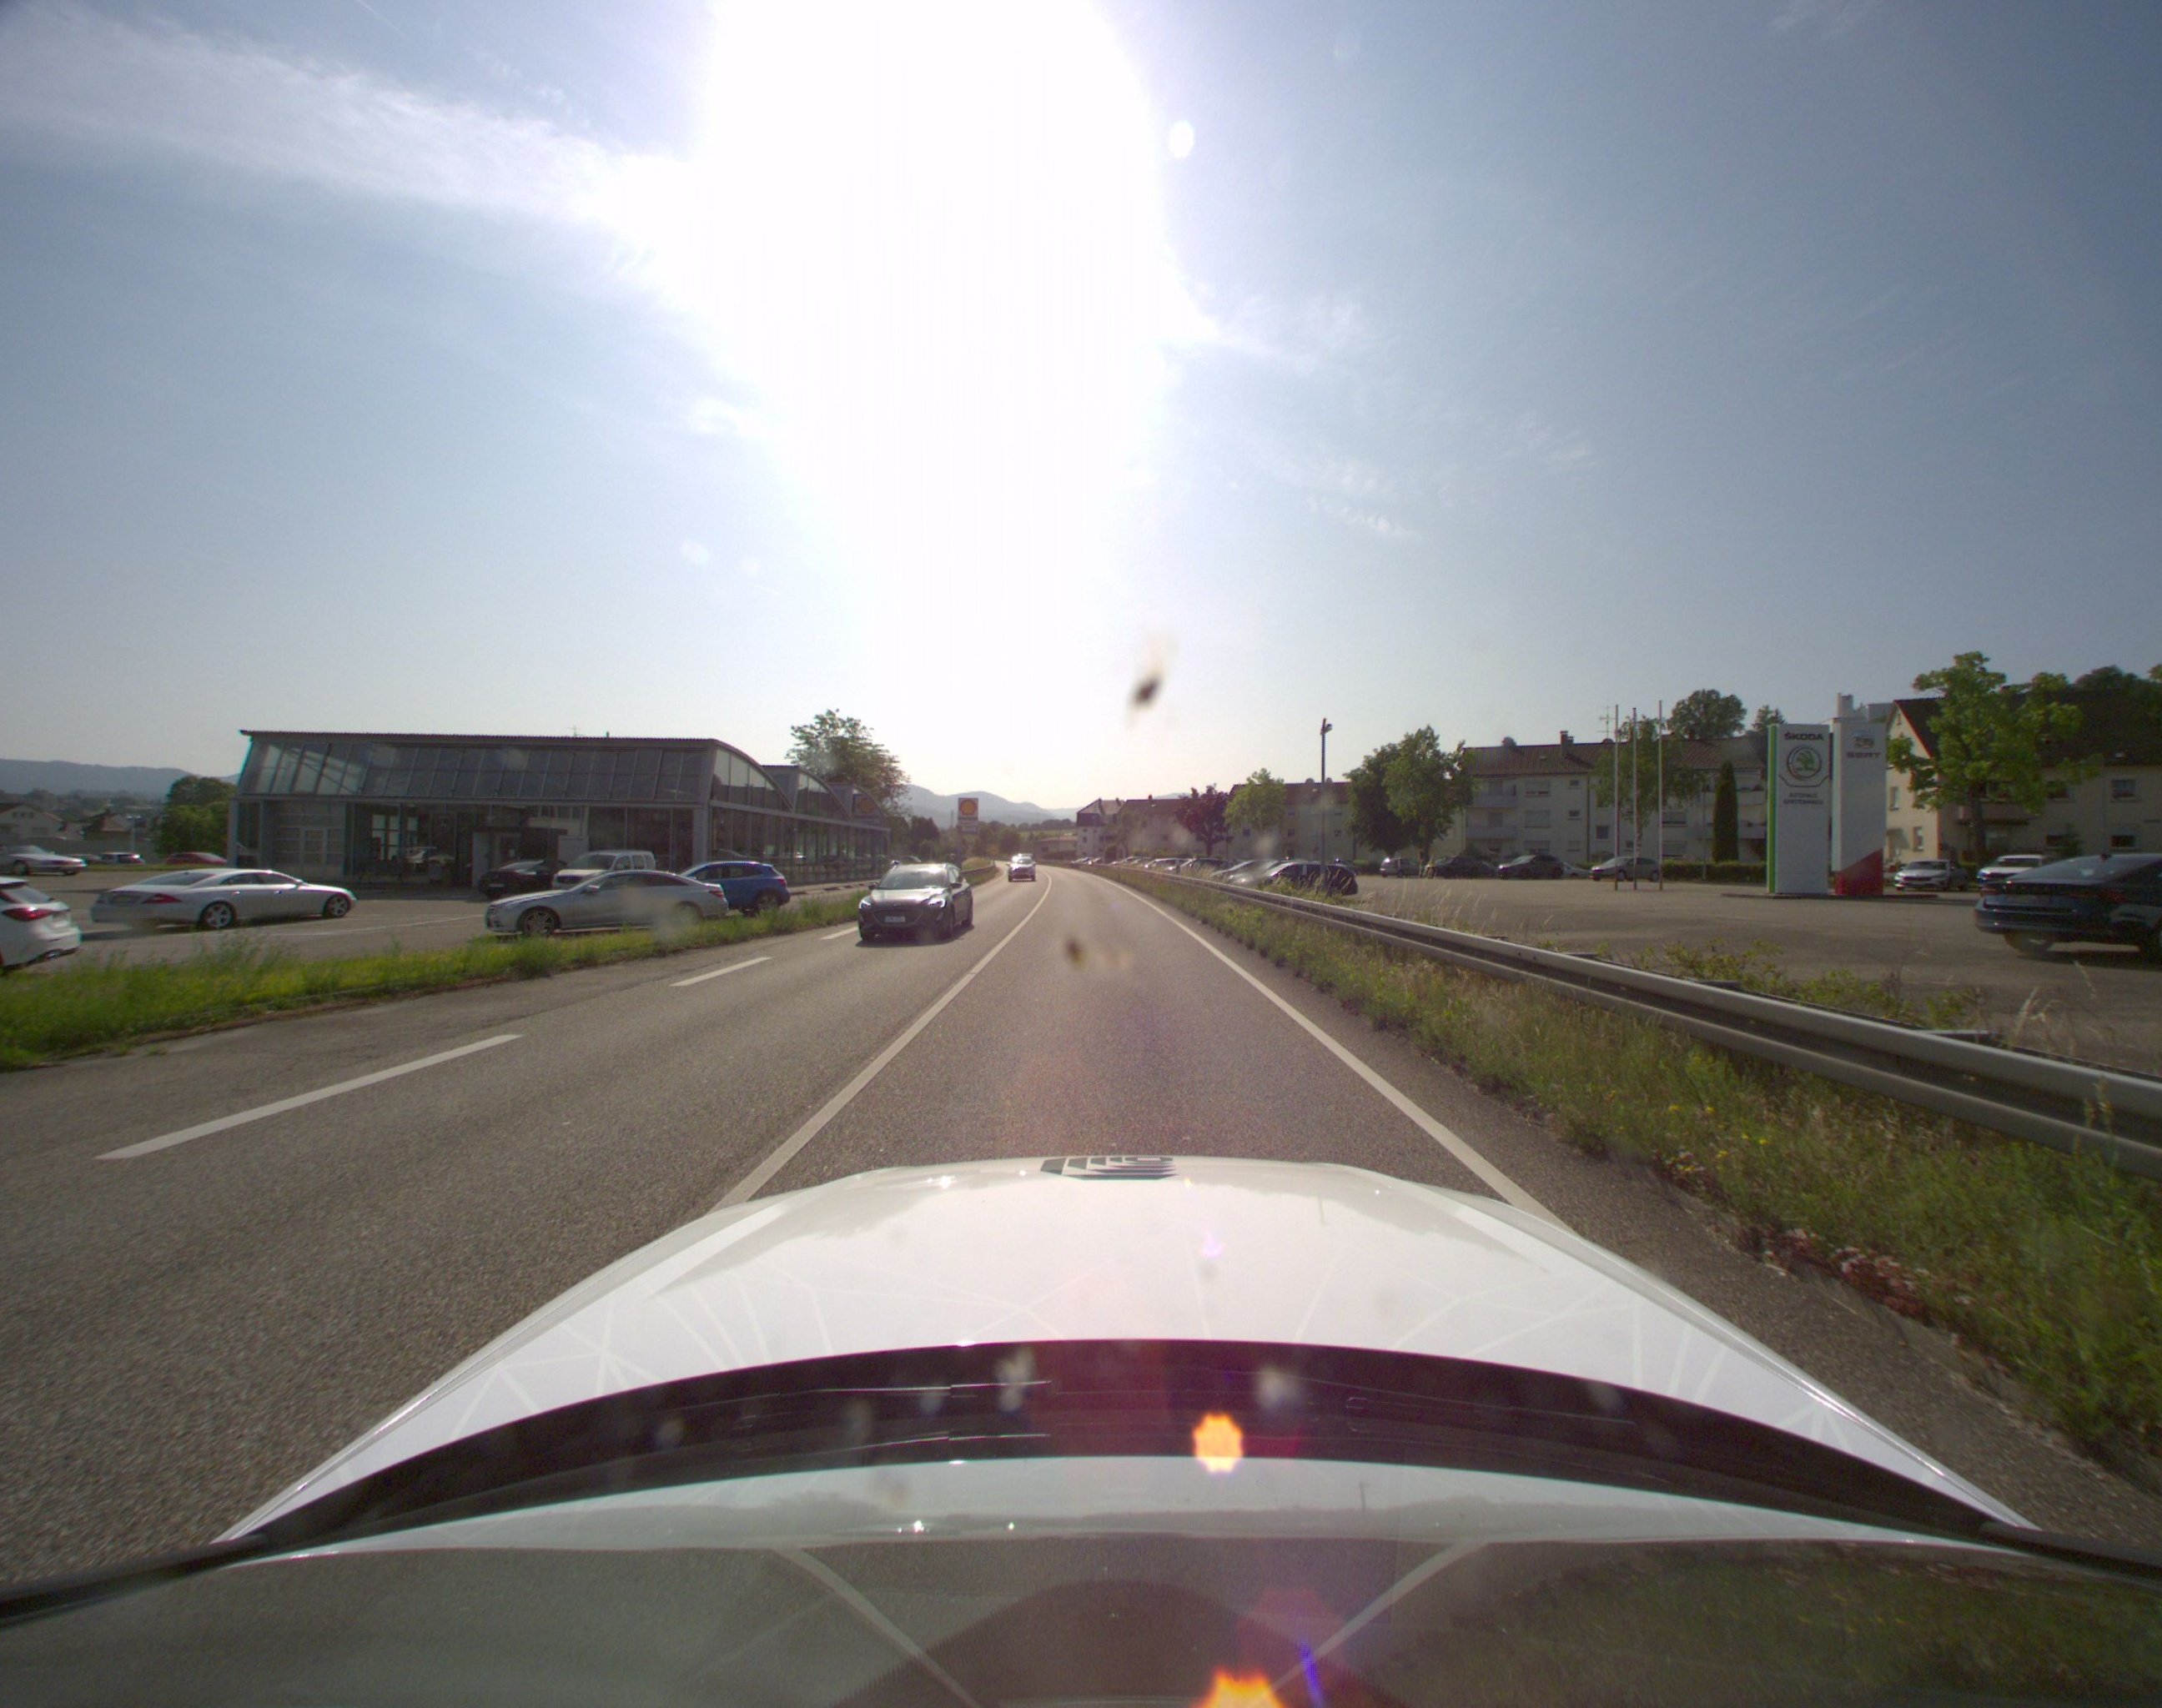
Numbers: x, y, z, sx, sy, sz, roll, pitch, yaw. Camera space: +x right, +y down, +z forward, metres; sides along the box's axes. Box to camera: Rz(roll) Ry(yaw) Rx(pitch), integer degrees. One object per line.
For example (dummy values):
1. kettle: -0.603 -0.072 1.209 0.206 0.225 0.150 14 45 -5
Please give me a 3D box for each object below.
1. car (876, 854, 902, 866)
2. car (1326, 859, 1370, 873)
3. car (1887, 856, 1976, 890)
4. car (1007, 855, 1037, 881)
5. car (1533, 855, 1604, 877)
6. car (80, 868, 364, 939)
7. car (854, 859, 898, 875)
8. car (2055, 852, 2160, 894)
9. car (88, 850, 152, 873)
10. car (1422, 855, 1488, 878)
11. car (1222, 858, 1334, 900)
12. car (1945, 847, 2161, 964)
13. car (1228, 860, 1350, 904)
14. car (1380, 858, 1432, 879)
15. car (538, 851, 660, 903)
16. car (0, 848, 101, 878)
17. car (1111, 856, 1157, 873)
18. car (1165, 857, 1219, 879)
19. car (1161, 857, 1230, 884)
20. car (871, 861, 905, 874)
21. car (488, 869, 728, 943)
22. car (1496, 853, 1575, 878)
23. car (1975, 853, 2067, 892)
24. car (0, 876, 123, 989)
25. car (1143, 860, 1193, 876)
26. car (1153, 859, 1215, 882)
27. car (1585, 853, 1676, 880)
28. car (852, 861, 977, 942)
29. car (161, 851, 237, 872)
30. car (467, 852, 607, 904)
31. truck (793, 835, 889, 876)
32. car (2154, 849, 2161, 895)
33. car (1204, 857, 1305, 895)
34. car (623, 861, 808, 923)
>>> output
1. car: -32.810 1.081 138.878 4.844 2.013 2.012 0 0 44
2. car: 23.484 1.093 71.787 1.597 1.186 3.630 0 -1 -27
3. car: 40.008 0.883 38.286 4.768 1.459 1.912 -1 -1 -32
4. car: -3.906 0.932 54.300 1.787 1.630 4.223 -1 0 -2
5. car: 33.879 0.800 56.702 1.790 1.475 3.954 0 -1 -26
6. car: -20.643 1.107 19.973 1.799 1.386 4.832 0 1 1
7. car: -21.566 1.351 85.770 4.349 1.655 1.926 1 -1 -9
8. car: 42.754 0.763 33.894 4.764 1.588 1.914 -1 -1 -29
9. car: -70.470 0.569 59.702 3.953 1.604 1.738 -1 -2 20
10. car: 26.605 0.851 57.889 4.506 1.600 1.825 0 -1 -26
11. car: 8.060 0.997 33.540 4.147 1.556 1.770 -2 -1 -1
12. car: 15.456 0.668 11.751 4.146 1.516 1.823 -1 -1 -3
13. car: 7.771 1.019 30.676 4.147 1.491 1.731 -2 -1 -1
14. car: 24.361 1.050 61.054 3.775 1.521 1.642 0 0 -29
15. car: -17.699 0.786 30.182 1.798 1.713 4.410 0 1 2
16. car: -46.980 0.378 36.187 4.792 1.290 1.911 0 0 4
17. car: 5.196 1.048 80.258 4.308 1.640 2.138 0 -1 -3
18. car: 8.312 1.041 61.189 3.837 1.568 1.805 0 -1 -3
19. car: 7.101 1.016 50.695 3.977 1.640 1.886 0 -1 -3
20. car: -22.970 1.580 97.187 3.743 1.500 1.927 1 -1 -7
21. car: -10.477 1.074 18.203 4.417 1.367 1.832 0 0 -40
22. car: 29.376 0.729 52.667 4.634 1.521 1.852 0 -1 -19
23. car: 41.559 0.796 35.974 4.768 1.588 1.912 -1 -1 -32
24. car: -15.428 0.985 10.115 4.251 1.403 1.876 2 -1 -40
25. car: 7.987 1.273 74.817 4.313 1.444 1.625 0 -1 -5
26. car: 7.137 1.147 56.815 3.983 1.580 1.774 0 -1 -7
27. car: 32.206 0.719 47.745 4.759 1.521 1.985 0 -1 -19
28. car: -3.405 0.913 17.464 1.746 1.474 4.286 -1 0 0
29. car: -69.148 0.606 63.870 3.973 1.604 1.730 0 -2 0
30. car: -19.987 0.803 30.236 1.799 1.713 4.939 0 1 1
31. truck: -21.647 0.175 73.901 2.770 3.557 8.264 1 0 37
32. car: 44.130 0.652 31.620 4.757 1.780 1.916 -1 -1 -24
33. car: 7.738 0.969 36.546 4.147 1.545 1.740 -2 -1 -1
34. car: -9.937 0.958 22.292 4.254 1.507 1.962 0 0 -40
